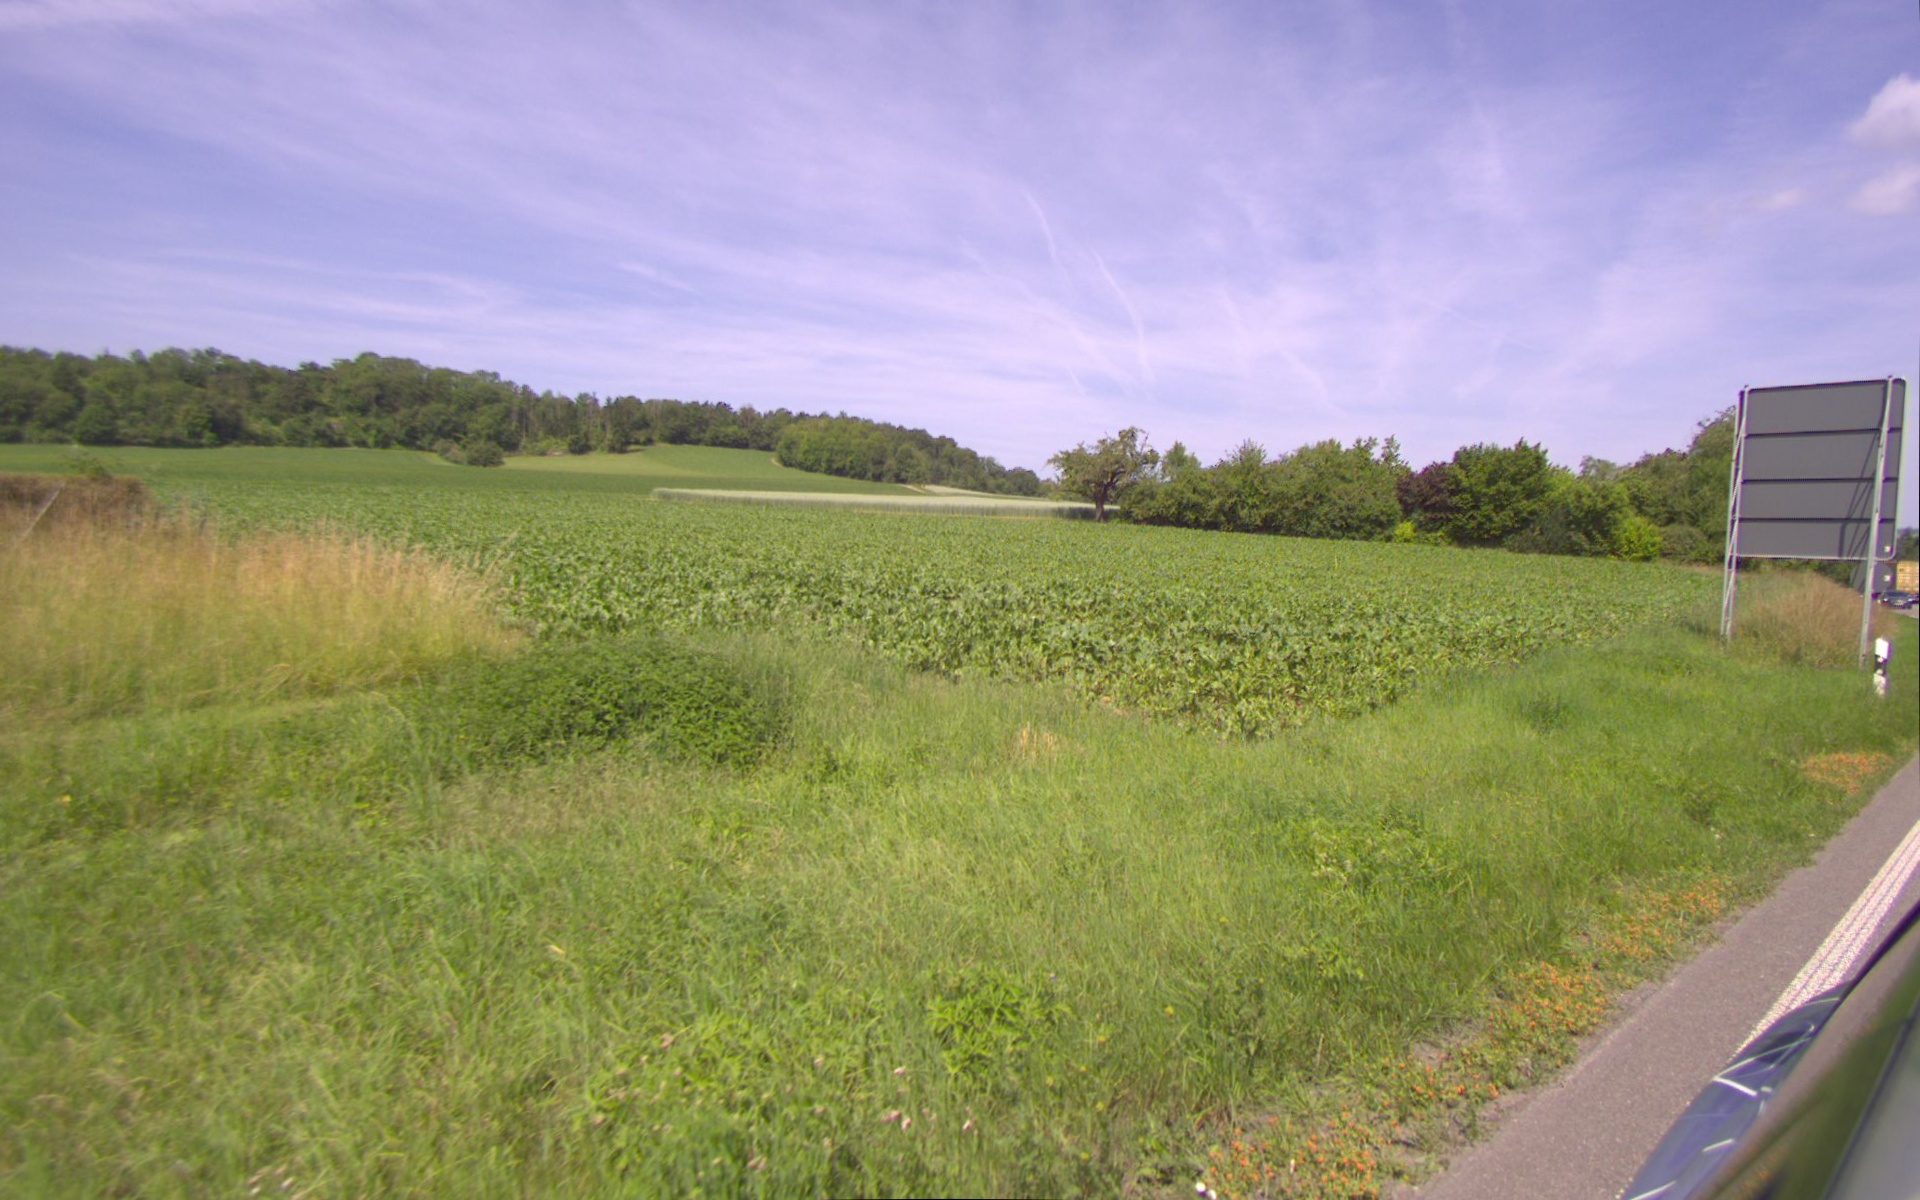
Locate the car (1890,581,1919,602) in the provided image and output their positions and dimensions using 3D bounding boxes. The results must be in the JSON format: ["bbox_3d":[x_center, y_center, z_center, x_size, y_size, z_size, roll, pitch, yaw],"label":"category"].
[{"bbox_3d":[75.260,-0.702,80.172,1.815,1.538,3.949,1,2,36],"label":"car"}]

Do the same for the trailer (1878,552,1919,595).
[{"bbox_3d":[94.104,-2.664,100.122,2.987,4.092,12.760,2,3,34],"label":"trailer"}]

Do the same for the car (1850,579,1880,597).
[{"bbox_3d":[87.554,-1.200,97.902,1.656,1.671,3.951,1,2,34],"label":"car"}]
